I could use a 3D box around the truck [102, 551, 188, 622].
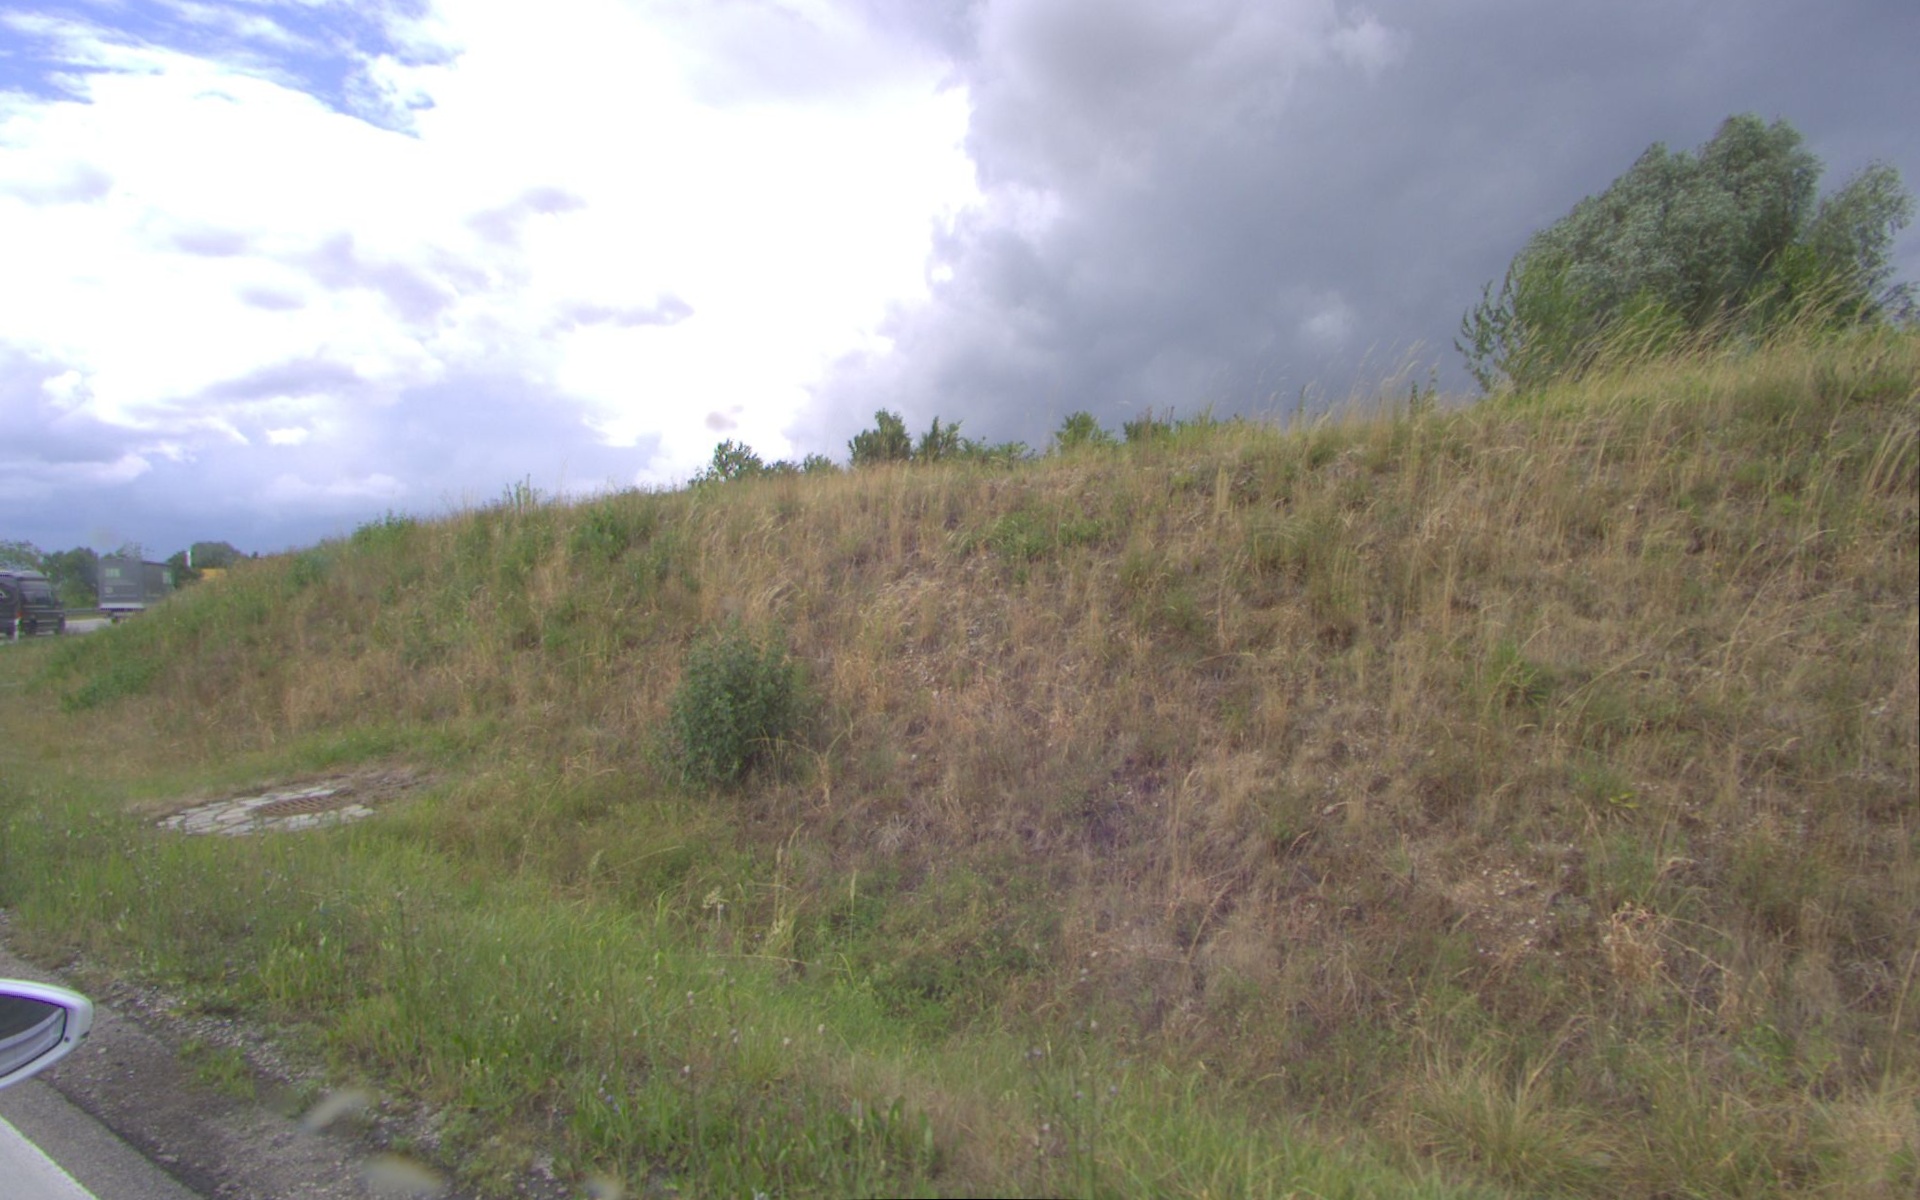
[{"bbox_3d":[-49.007,-0.698,60.389,2.198,3.956,6.003,0,-2,-21],"label":"truck"}]

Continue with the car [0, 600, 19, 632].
[{"bbox_3d":[-47.015,0.767,47.628,1.809,1.586,4.484,0,-1,-23],"label":"car"}]

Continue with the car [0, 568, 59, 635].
[{"bbox_3d":[-41.499,0.095,43.797,2.080,2.832,3.984,1,-1,-27],"label":"car"}]
